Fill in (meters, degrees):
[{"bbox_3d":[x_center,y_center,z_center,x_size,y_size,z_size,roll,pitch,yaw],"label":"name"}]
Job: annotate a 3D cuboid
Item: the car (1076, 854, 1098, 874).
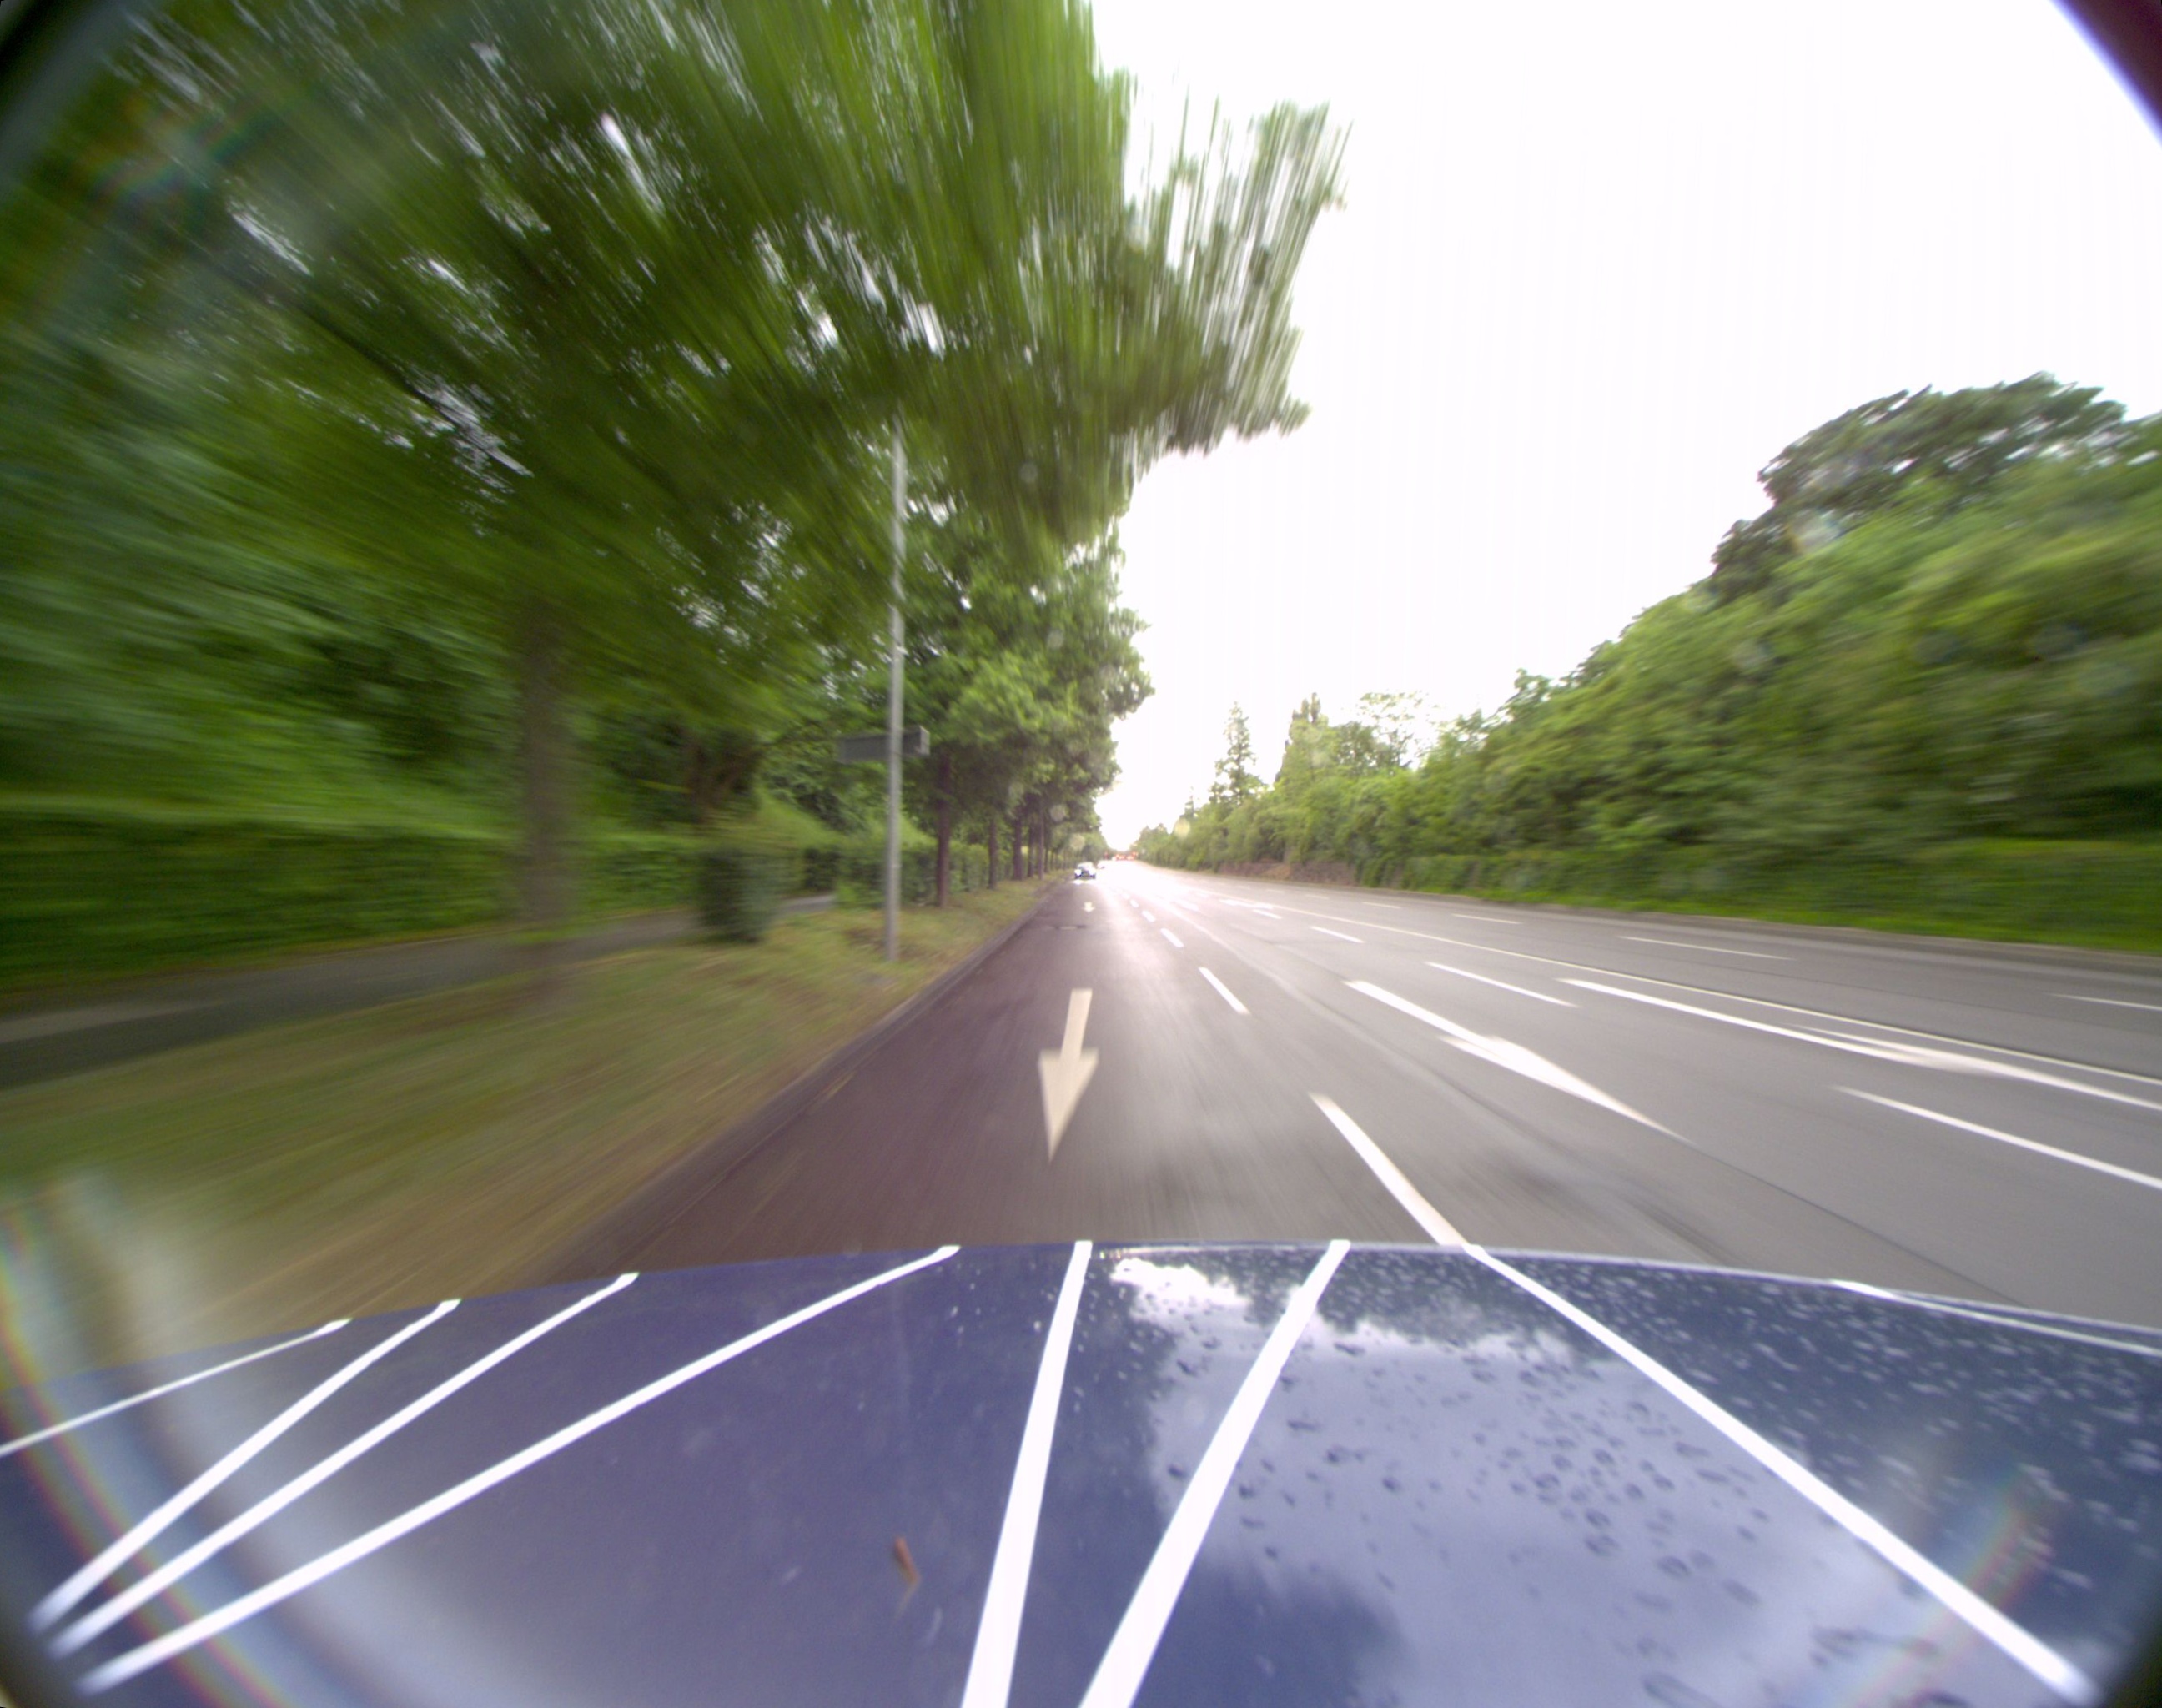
[{"bbox_3d":[0.529,0.852,65.805,1.824,1.547,4.000,-1,1,1],"label":"car"}]
